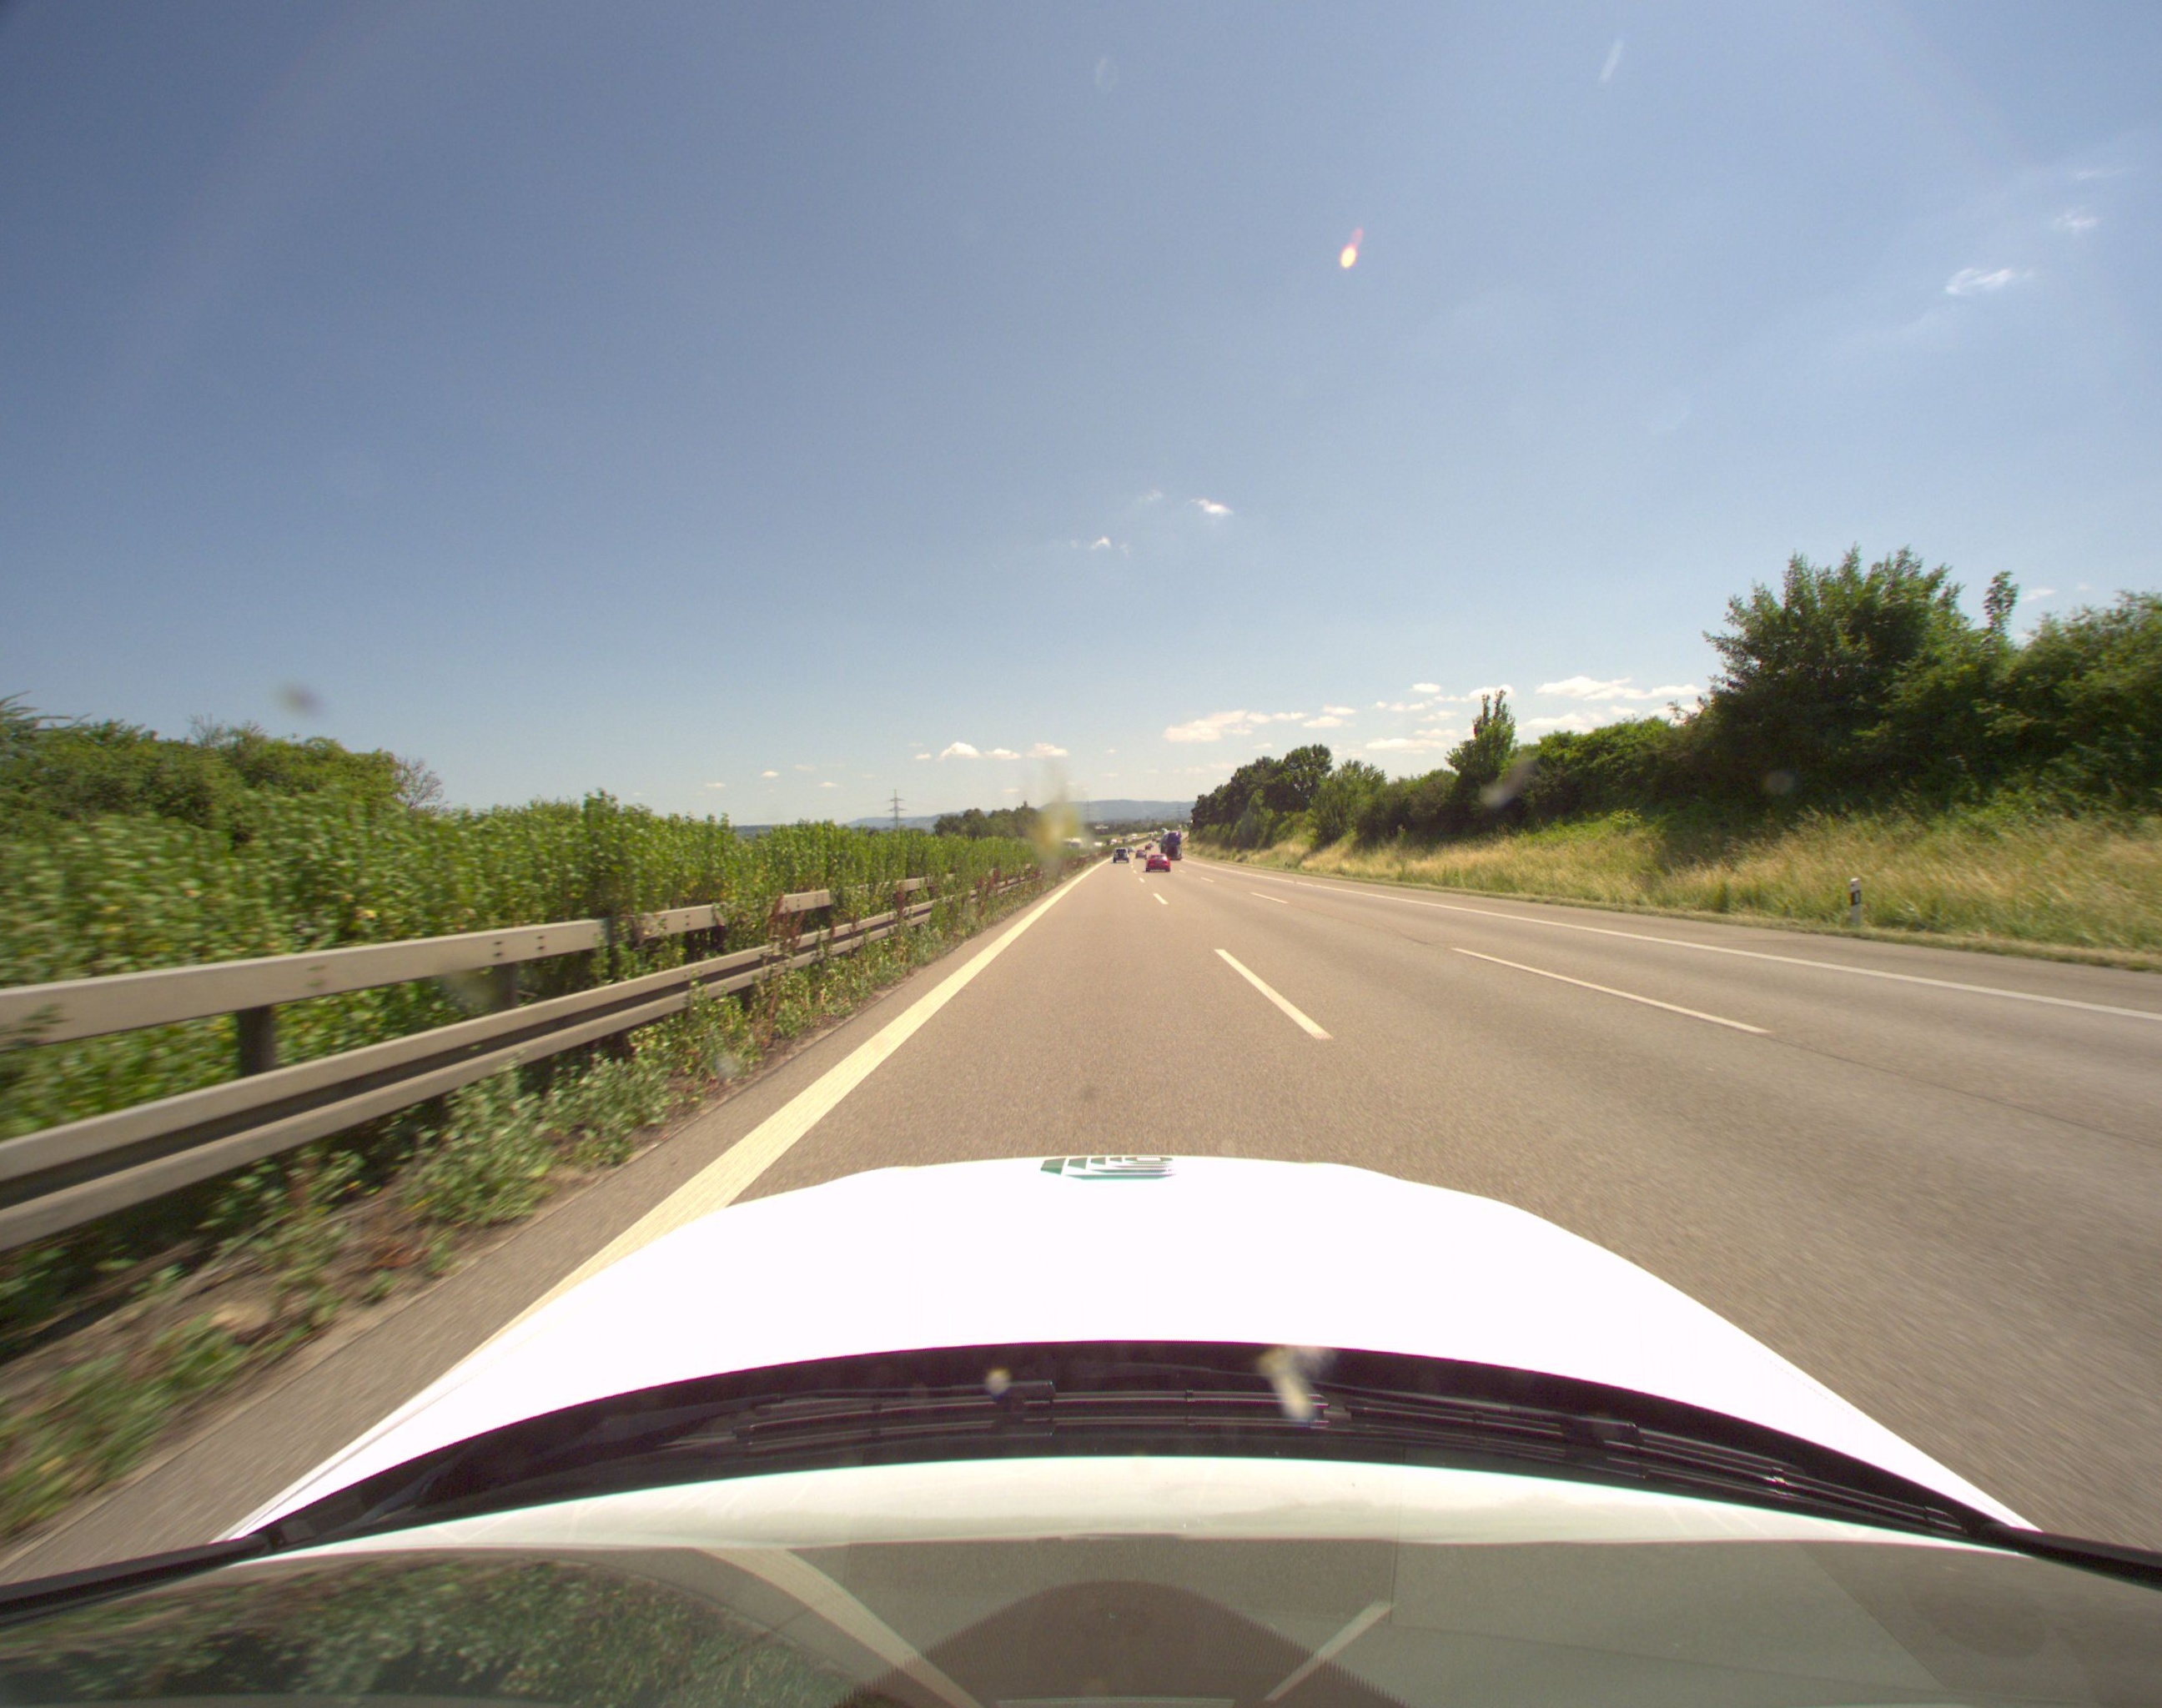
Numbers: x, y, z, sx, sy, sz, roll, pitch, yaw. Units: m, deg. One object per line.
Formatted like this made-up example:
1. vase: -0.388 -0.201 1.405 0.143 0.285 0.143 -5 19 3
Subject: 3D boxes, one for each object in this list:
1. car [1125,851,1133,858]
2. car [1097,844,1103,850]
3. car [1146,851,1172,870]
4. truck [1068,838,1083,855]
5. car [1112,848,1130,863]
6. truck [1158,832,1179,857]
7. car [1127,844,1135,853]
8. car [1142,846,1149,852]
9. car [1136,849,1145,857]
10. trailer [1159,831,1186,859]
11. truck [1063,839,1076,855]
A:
1. car: 9.233 0.102 156.519 1.447 1.267 3.344 0 1 7
2. car: 6.182 -2.183 259.455 1.787 2.013 4.002 0 1 2
3. car: 6.072 0.481 63.525 1.680 1.378 3.949 0 1 1
4. truck: -1.274 -1.817 199.322 3.161 4.108 5.234 0 1 5
5. car: 4.972 0.140 102.597 2.076 1.829 4.754 0 1 0
6. truck: 13.769 -1.539 128.761 2.743 3.852 6.647 0 1 2
7. car: 12.461 -1.392 203.449 1.688 2.013 3.832 0 1 9
8. car: 18.331 -1.401 230.255 1.626 1.704 3.410 0 1 9
9. car: 9.718 -0.174 133.187 1.447 1.267 3.541 0 1 2
10. trailer: 13.507 -1.409 120.936 2.844 3.993 15.407 0 1 2
11. truck: -3.035 -1.881 219.113 2.996 4.108 5.630 0 1 5
